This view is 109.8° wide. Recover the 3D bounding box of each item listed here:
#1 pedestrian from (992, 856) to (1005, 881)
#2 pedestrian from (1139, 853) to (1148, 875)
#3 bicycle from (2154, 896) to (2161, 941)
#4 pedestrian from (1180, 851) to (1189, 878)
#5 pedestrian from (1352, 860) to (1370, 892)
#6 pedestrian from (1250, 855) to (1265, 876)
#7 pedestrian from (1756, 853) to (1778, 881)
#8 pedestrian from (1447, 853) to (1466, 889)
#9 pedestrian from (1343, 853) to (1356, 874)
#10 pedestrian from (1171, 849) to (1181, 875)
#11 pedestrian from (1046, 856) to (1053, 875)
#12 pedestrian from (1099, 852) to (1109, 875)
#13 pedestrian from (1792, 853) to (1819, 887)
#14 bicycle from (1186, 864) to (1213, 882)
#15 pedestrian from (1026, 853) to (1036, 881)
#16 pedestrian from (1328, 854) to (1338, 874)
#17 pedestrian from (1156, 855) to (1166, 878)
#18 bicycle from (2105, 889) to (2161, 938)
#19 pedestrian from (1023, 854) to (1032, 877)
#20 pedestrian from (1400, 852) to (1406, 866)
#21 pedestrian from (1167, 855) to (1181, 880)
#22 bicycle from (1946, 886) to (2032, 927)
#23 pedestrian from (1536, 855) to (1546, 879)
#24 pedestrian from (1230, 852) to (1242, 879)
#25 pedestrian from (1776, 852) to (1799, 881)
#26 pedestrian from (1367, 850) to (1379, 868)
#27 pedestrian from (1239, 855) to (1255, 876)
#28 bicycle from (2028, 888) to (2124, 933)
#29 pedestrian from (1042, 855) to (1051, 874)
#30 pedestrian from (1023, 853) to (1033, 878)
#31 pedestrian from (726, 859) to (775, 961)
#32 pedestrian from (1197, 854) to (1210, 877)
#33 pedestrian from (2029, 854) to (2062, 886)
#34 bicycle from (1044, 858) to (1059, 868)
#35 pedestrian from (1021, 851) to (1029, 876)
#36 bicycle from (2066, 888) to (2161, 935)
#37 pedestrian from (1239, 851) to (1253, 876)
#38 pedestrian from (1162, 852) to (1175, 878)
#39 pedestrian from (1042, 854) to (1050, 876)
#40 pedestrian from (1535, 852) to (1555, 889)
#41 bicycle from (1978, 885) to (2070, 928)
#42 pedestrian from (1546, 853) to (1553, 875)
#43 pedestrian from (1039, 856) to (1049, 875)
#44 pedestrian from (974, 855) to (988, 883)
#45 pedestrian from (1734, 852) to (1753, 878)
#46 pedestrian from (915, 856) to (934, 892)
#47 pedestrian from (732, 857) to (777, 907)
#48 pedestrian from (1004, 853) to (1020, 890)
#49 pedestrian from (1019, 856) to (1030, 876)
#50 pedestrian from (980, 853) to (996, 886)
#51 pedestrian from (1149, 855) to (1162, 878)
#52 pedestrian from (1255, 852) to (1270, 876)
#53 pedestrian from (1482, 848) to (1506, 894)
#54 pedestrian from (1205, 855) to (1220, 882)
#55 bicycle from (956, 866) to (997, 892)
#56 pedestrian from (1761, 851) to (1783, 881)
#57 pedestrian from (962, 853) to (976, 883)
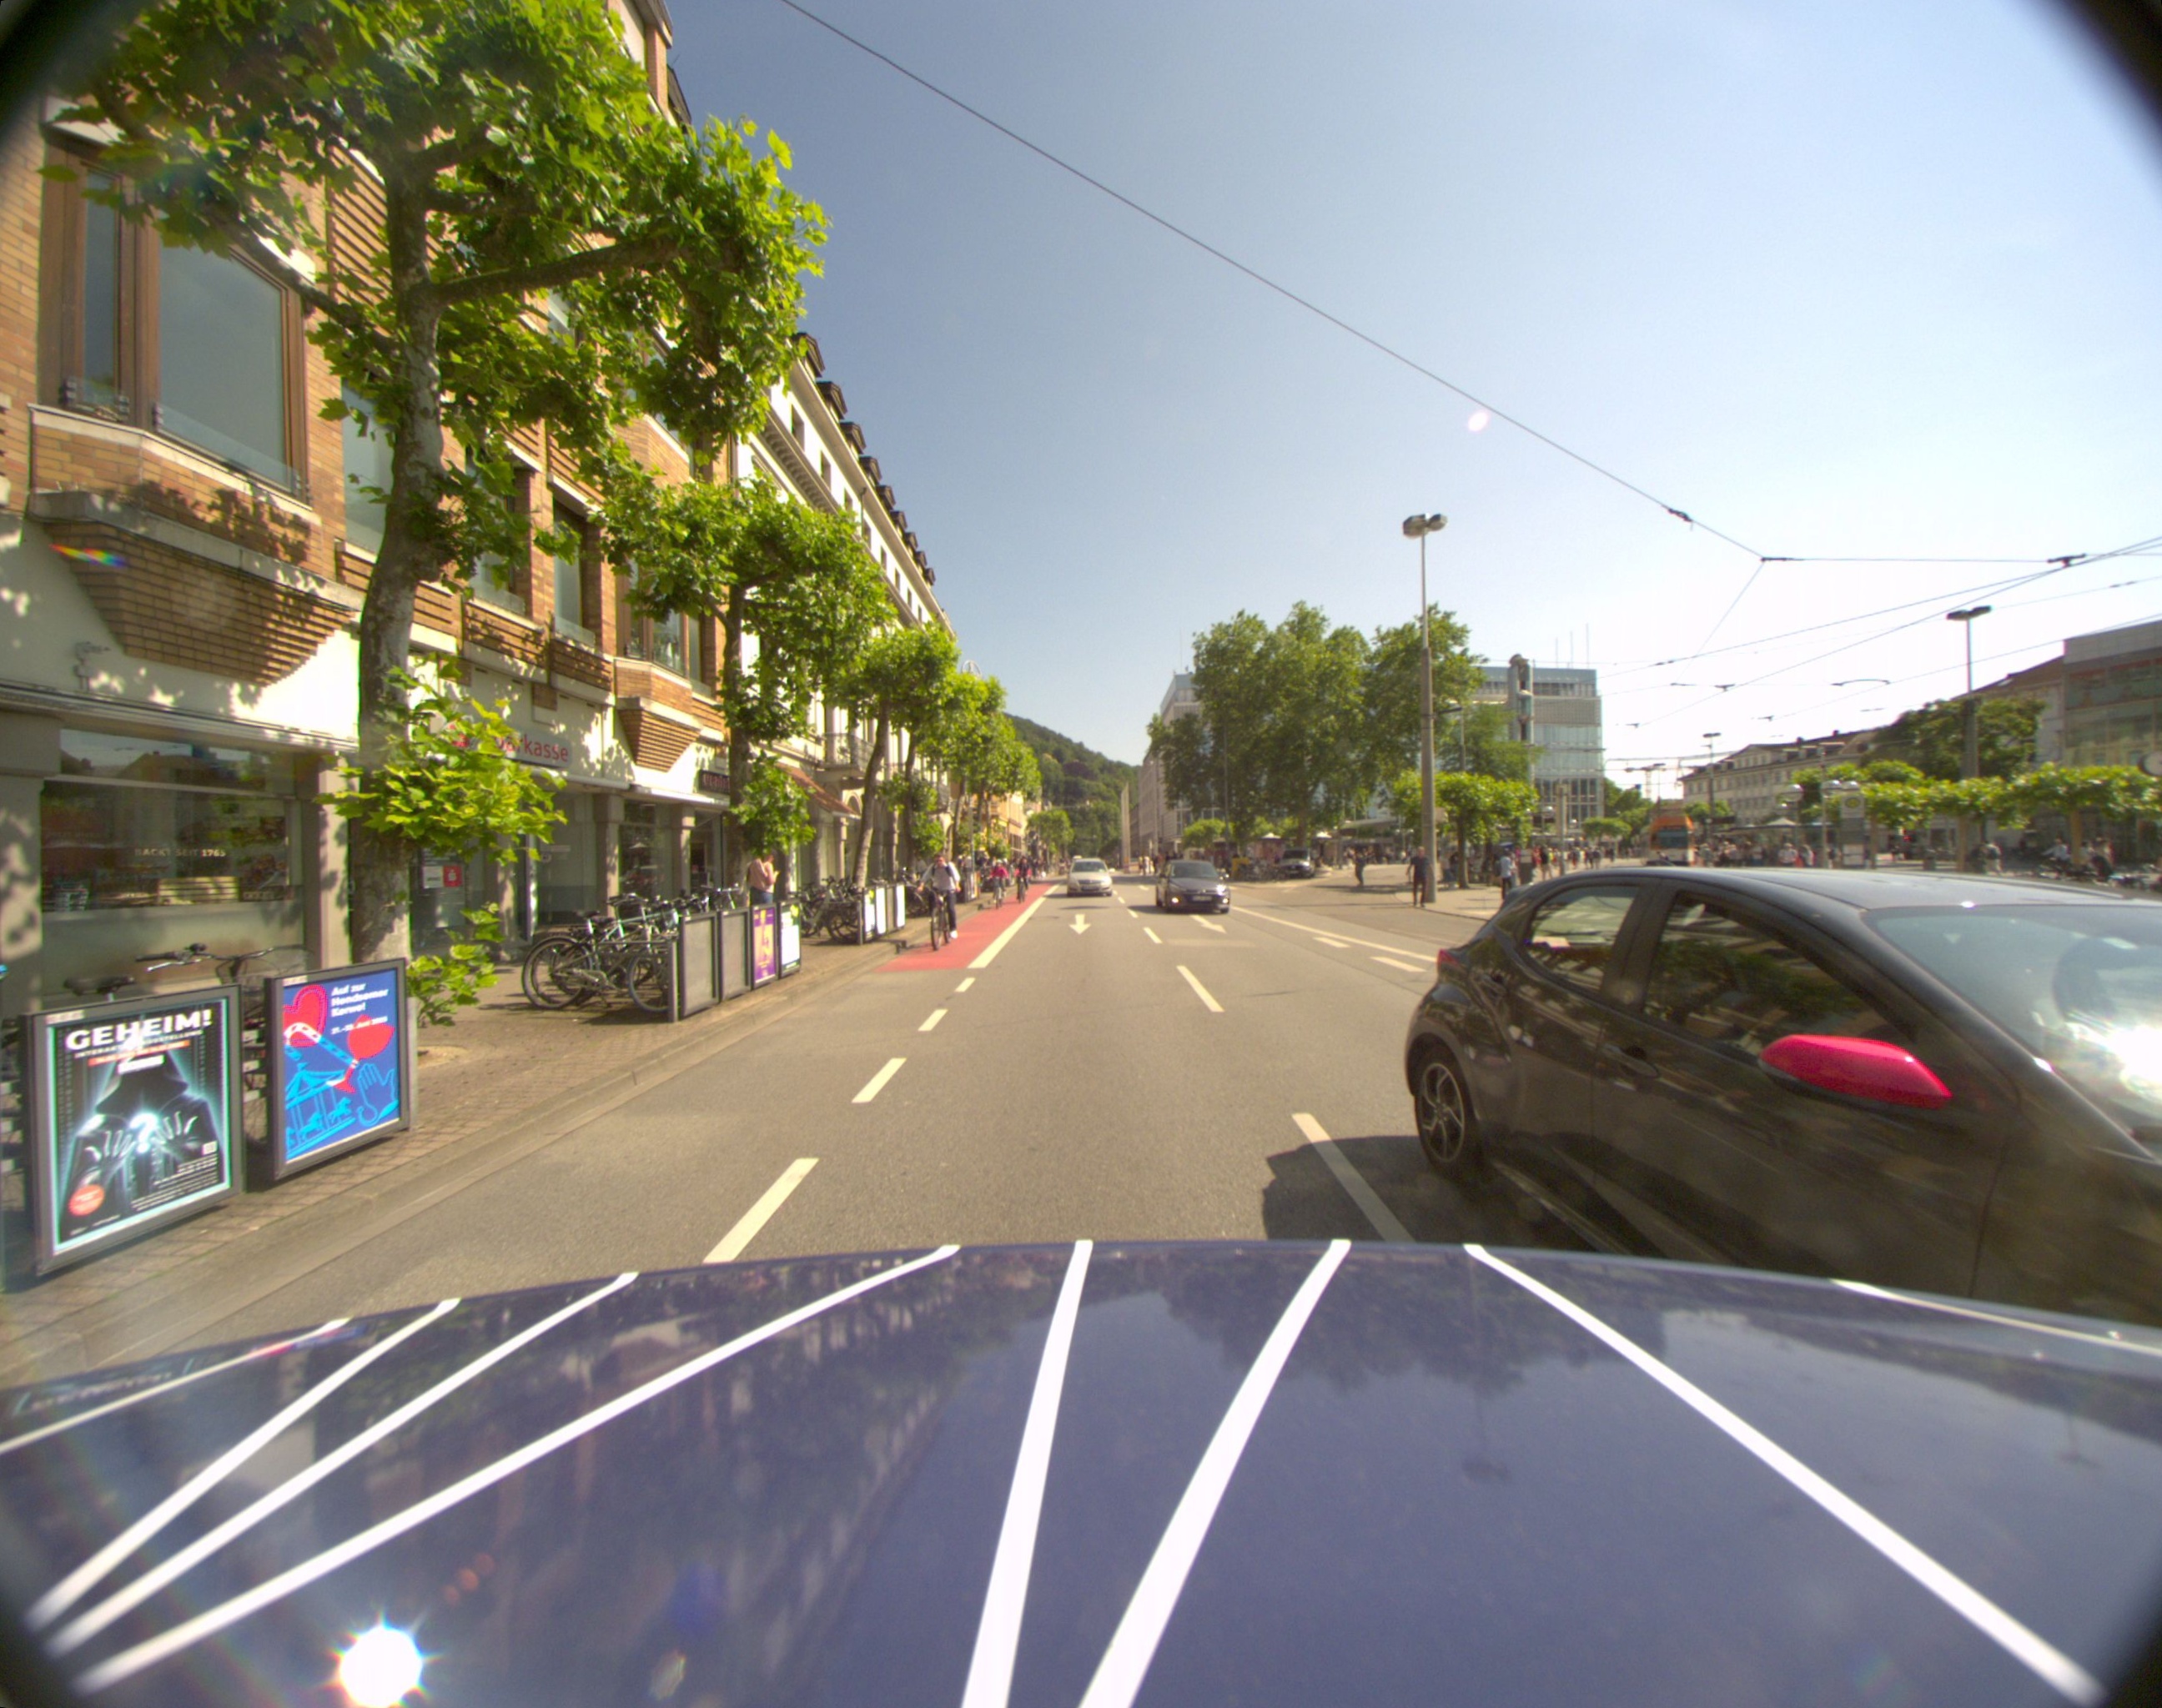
[{"bbox_3d":[-5.572,0.975,51.123,0.517,1.574,0.584,-3,1,40],"label":"pedestrian"},{"bbox_3d":[5.510,0.913,67.179,0.639,1.903,0.733,-3,1,-1],"label":"pedestrian"},{"bbox_3d":[22.133,1.222,14.887,1.871,0.864,0.581,-3,1,-13],"label":"bicycle"},{"bbox_3d":[7.108,0.738,52.203,0.517,1.825,0.716,-3,1,8],"label":"pedestrian"},{"bbox_3d":[13.706,1.068,37.234,0.624,1.515,0.680,1,0,0],"label":"pedestrian"},{"bbox_3d":[12.443,0.811,53.567,0.752,1.416,0.673,-3,1,-10],"label":"pedestrian"},{"bbox_3d":[37.358,0.710,41.375,0.579,1.540,0.679,1,0,-23],"label":"pedestrian"},{"bbox_3d":[18.836,0.859,38.110,0.626,1.783,0.678,1,0,-42],"label":"pedestrian"},{"bbox_3d":[23.065,0.789,65.268,0.752,1.737,0.782,-3,1,-10],"label":"pedestrian"},{"bbox_3d":[6.811,0.563,54.707,0.595,1.835,0.738,0,1,-1],"label":"pedestrian"},{"bbox_3d":[-2.859,1.065,68.916,0.578,1.674,0.676,0,0,-11],"label":"pedestrian"},{"bbox_3d":[1.805,0.745,59.930,0.699,1.774,0.578,0,1,-5],"label":"pedestrian"},{"bbox_3d":[34.363,0.767,36.043,0.626,1.588,0.679,1,0,-22],"label":"pedestrian"},{"bbox_3d":[7.570,1.203,48.635,0.831,1.017,2.624,-3,0,-10],"label":"bicycle"},{"bbox_3d":[-3.396,0.858,51.604,0.578,1.835,0.717,-3,1,-3],"label":"pedestrian"},{"bbox_3d":[21.587,0.842,65.118,0.638,1.683,0.753,-3,1,23],"label":"pedestrian"},{"bbox_3d":[6.020,0.923,56.985,0.612,1.737,0.752,-2,1,-1],"label":"pedestrian"},{"bbox_3d":[22.285,1.226,15.747,1.871,0.851,0.546,-3,1,-13],"label":"bicycle"},{"bbox_3d":[-3.828,0.808,54.411,0.569,1.675,0.591,0,1,-3],"label":"pedestrian"},{"bbox_3d":[34.364,0.519,81.117,0.464,1.464,0.410,-3,1,-2],"label":"pedestrian"},{"bbox_3d":[6.332,0.927,51.751,0.630,1.639,0.753,-3,1,26],"label":"pedestrian"},{"bbox_3d":[22.431,1.274,18.766,1.871,0.851,0.546,-3,1,-13],"label":"bicycle"},{"bbox_3d":[29.406,0.851,48.619,0.474,1.540,0.493,1,0,25],"label":"pedestrian"},{"bbox_3d":[10.184,0.776,49.913,0.516,1.732,0.518,-3,1,-13],"label":"pedestrian"},{"bbox_3d":[38.026,0.675,40.897,0.579,1.540,0.679,1,0,-23],"label":"pedestrian"},{"bbox_3d":[29.487,0.484,76.840,0.752,1.737,0.782,-3,1,-10],"label":"pedestrian"},{"bbox_3d":[11.868,0.812,54.316,0.752,1.399,0.782,-3,1,-10],"label":"pedestrian"},{"bbox_3d":[22.265,1.252,17.004,1.871,0.851,0.546,-3,1,-13],"label":"bicycle"},{"bbox_3d":[-3.248,1.011,71.266,0.651,1.770,0.621,0,2,-13],"label":"pedestrian"},{"bbox_3d":[-3.760,0.811,53.777,0.578,1.675,0.622,-3,1,-3],"label":"pedestrian"},{"bbox_3d":[-5.539,0.913,12.760,0.655,1.624,0.729,-3,1,-23],"label":"pedestrian"},{"bbox_3d":[9.424,0.880,58.368,0.751,1.737,0.667,-3,1,-1],"label":"pedestrian"},{"bbox_3d":[46.484,0.755,36.618,0.681,1.540,0.846,1,0,-26],"label":"pedestrian"},{"bbox_3d":[-3.698,1.149,94.804,1.757,1.140,0.592,-2,1,-2],"label":"bicycle"},{"bbox_3d":[-4.053,0.691,55.095,0.578,1.774,0.699,0,1,-3],"label":"pedestrian"},{"bbox_3d":[22.350,1.233,16.415,1.871,0.851,0.546,-3,1,-13],"label":"bicycle"},{"bbox_3d":[12.262,0.702,56.439,0.750,1.737,0.784,-3,1,27],"label":"pedestrian"},{"bbox_3d":[6.144,0.764,53.606,0.537,1.773,0.745,-3,1,35],"label":"pedestrian"},{"bbox_3d":[-3.120,0.953,67.040,0.578,1.863,0.680,-2,0,-11],"label":"pedestrian"},{"bbox_3d":[22.498,0.792,36.854,0.577,1.805,0.605,1,0,0],"label":"pedestrian"},{"bbox_3d":[22.492,1.244,18.129,1.871,0.867,0.583,-3,1,-13],"label":"bicycle"},{"bbox_3d":[32.394,0.702,52.527,0.385,1.540,0.412,1,0,25],"label":"pedestrian"},{"bbox_3d":[-2.966,0.956,61.170,0.672,1.488,0.637,-2,1,-14],"label":"pedestrian"},{"bbox_3d":[-6.682,0.986,50.791,0.721,1.772,0.776,-3,1,-2],"label":"pedestrian"},{"bbox_3d":[38.738,0.648,44.418,0.681,1.540,0.577,1,0,-26],"label":"pedestrian"},{"bbox_3d":[-7.590,0.955,36.932,0.658,1.686,0.676,-3,1,2],"label":"pedestrian"},{"bbox_3d":[-8.933,0.768,20.804,0.653,1.299,0.868,-3,1,42],"label":"pedestrian"},{"bbox_3d":[-3.621,0.895,39.791,0.702,1.891,0.776,-3,1,-2],"label":"pedestrian"},{"bbox_3d":[-5.177,1.052,69.422,0.733,1.794,0.749,-1,0,17],"label":"pedestrian"},{"bbox_3d":[-4.478,0.732,36.589,0.606,1.529,0.666,-3,1,-1],"label":"pedestrian"},{"bbox_3d":[6.014,1.009,61.548,0.876,1.737,0.733,-3,1,-1],"label":"pedestrian"},{"bbox_3d":[12.614,0.703,52.810,0.752,1.587,0.782,-3,1,-10],"label":"pedestrian"},{"bbox_3d":[18.249,0.764,33.603,0.693,1.996,0.564,-2,1,-9],"label":"pedestrian"},{"bbox_3d":[8.427,0.918,48.811,0.643,1.681,0.642,-3,1,-13],"label":"pedestrian"},{"bbox_3d":[-4.782,1.136,34.908,1.757,1.140,0.592,-2,1,-2],"label":"bicycle"},{"bbox_3d":[36.880,0.643,40.557,0.579,1.540,0.679,1,0,-23],"label":"pedestrian"},{"bbox_3d":[-6.800,0.869,46.239,0.635,1.782,0.776,-3,1,-2],"label":"pedestrian"}]
